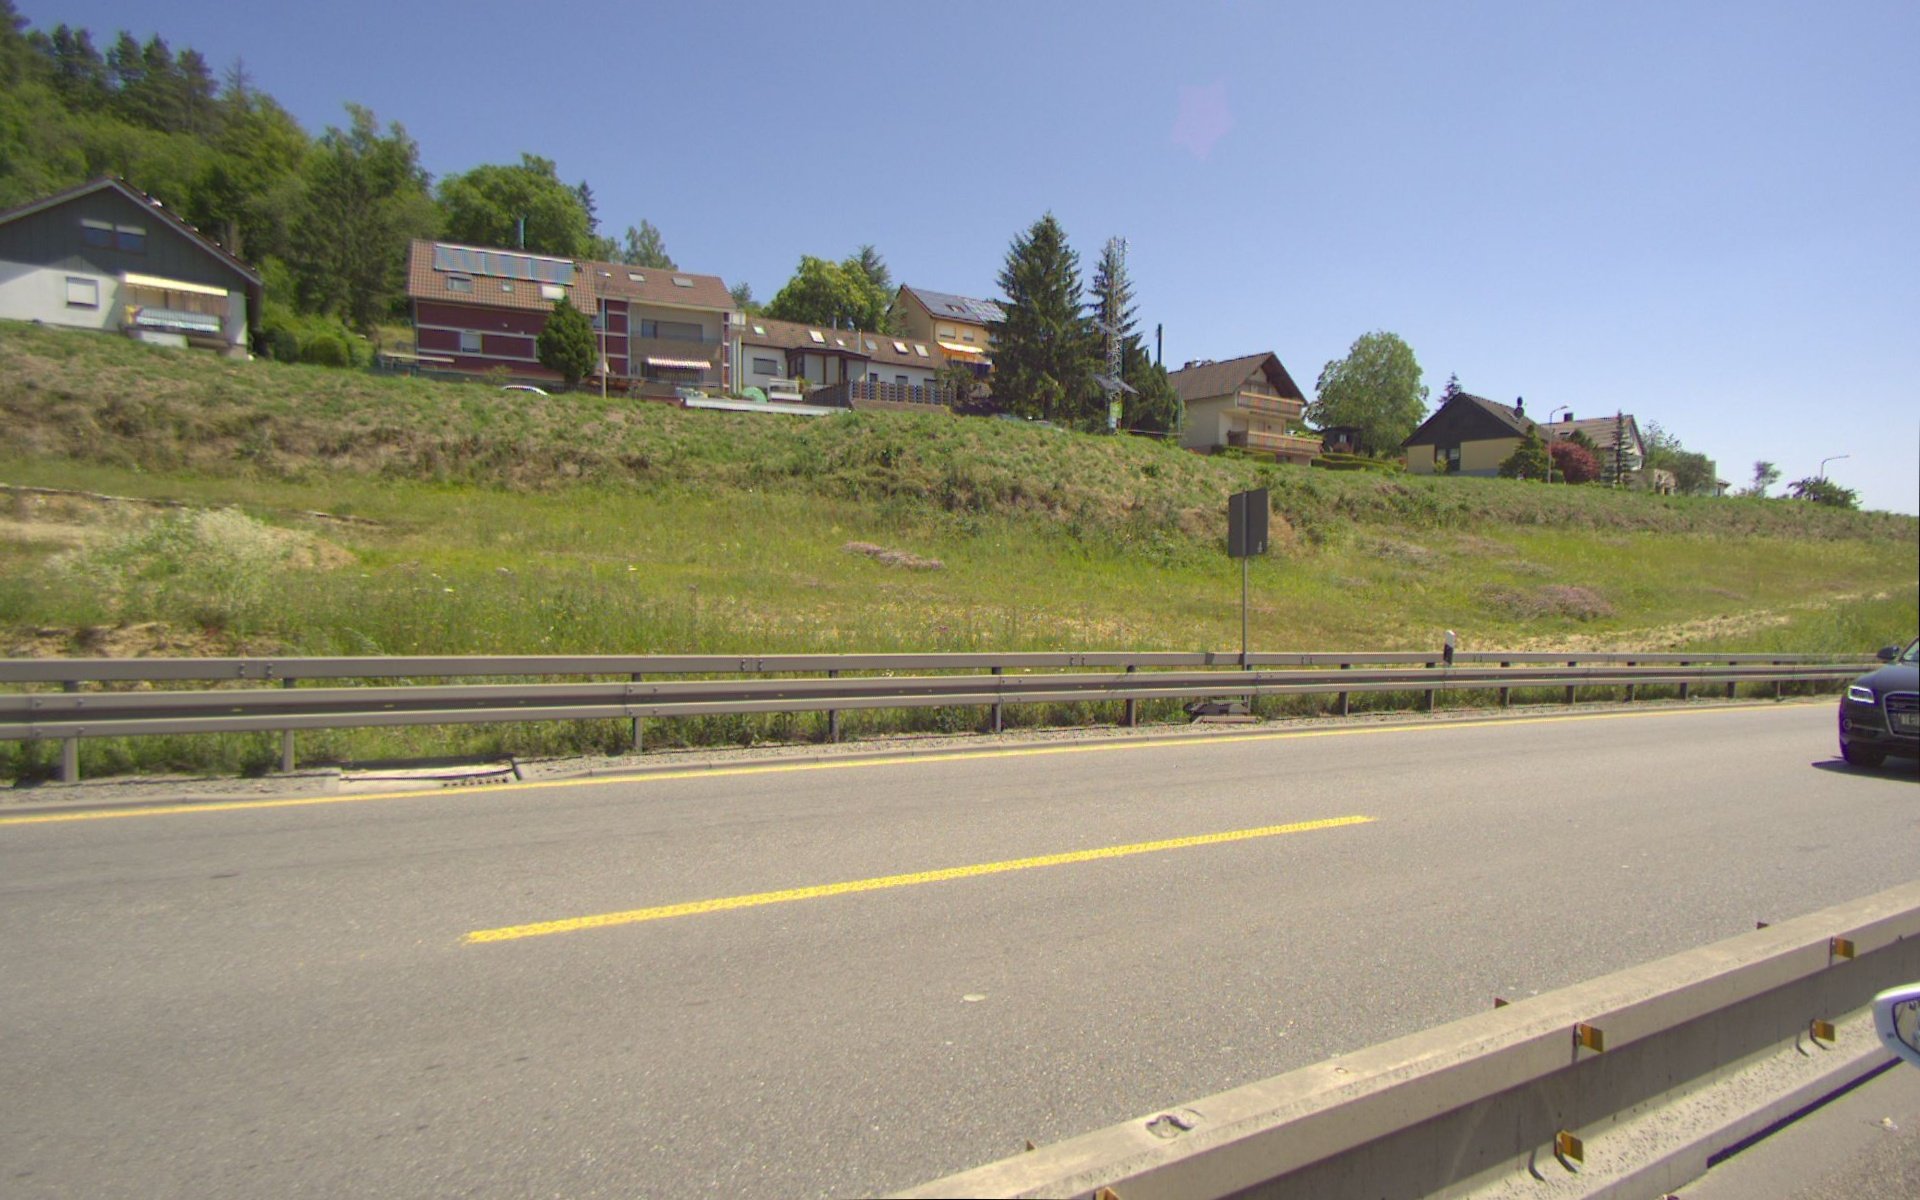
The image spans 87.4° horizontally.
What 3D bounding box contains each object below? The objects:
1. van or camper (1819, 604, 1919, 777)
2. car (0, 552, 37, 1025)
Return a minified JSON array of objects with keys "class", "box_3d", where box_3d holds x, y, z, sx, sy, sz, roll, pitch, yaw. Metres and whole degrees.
[{"class":"van or camper","box_3d":[11.153,0.942,10.747,3.843,1.690,1.819,2,0,-30]},{"class":"car","box_3d":[-4.683,0.549,1.556,4.487,1.496,1.665,2,0,-30]}]
